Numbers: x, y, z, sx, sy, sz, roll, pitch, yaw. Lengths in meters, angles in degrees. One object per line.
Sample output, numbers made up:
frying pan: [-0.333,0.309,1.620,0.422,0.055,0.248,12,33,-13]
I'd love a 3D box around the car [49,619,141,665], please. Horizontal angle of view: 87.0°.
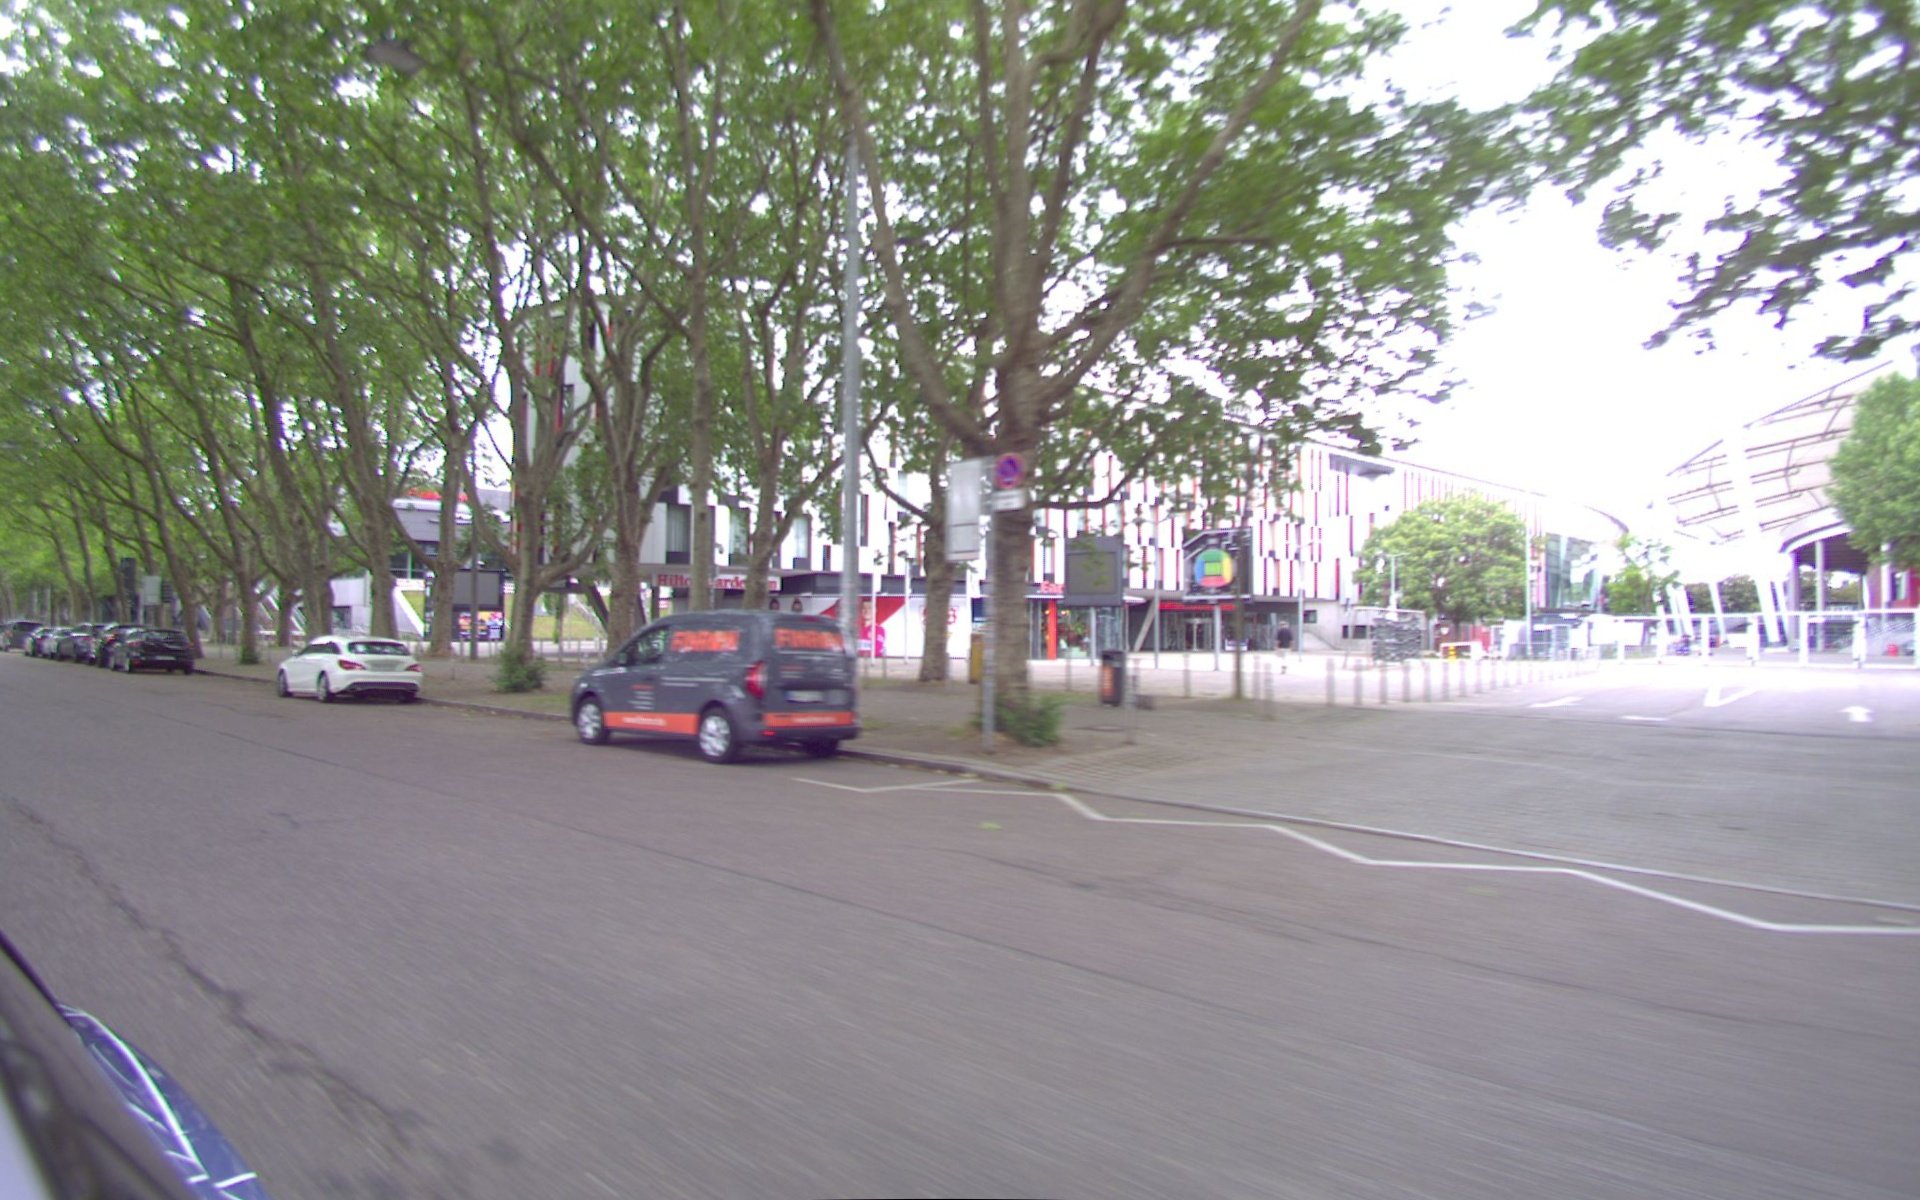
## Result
car: [-35.223,1.710,41.186,4.642,1.731,1.851,-1,-6,38]

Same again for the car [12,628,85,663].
car: [-43.623,2.178,48.398,5.144,1.542,2.061,-2,-5,43]

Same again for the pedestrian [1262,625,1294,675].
pedestrian: [10.858,1.693,34.518,0.808,1.704,0.716,-2,-3,45]

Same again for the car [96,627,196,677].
car: [-27.244,1.720,33.833,4.441,1.506,1.814,-2,-6,42]

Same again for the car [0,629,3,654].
car: [-64.773,2.663,66.909,4.345,1.606,1.797,-2,-6,43]

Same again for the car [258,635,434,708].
car: [-13.520,1.533,22.178,4.749,1.413,1.884,-1,-6,41]

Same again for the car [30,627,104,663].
car: [-39.330,1.967,44.554,4.228,1.467,1.814,-2,-6,41]

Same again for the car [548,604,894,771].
car: [-3.189,1.014,12.973,4.635,1.764,1.929,-1,-4,41]

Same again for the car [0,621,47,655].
car: [-53.395,2.147,57.297,4.610,1.809,1.876,-1,-5,41]

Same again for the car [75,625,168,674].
car: [-31.146,1.832,37.540,4.927,1.655,1.916,-2,-6,43]
